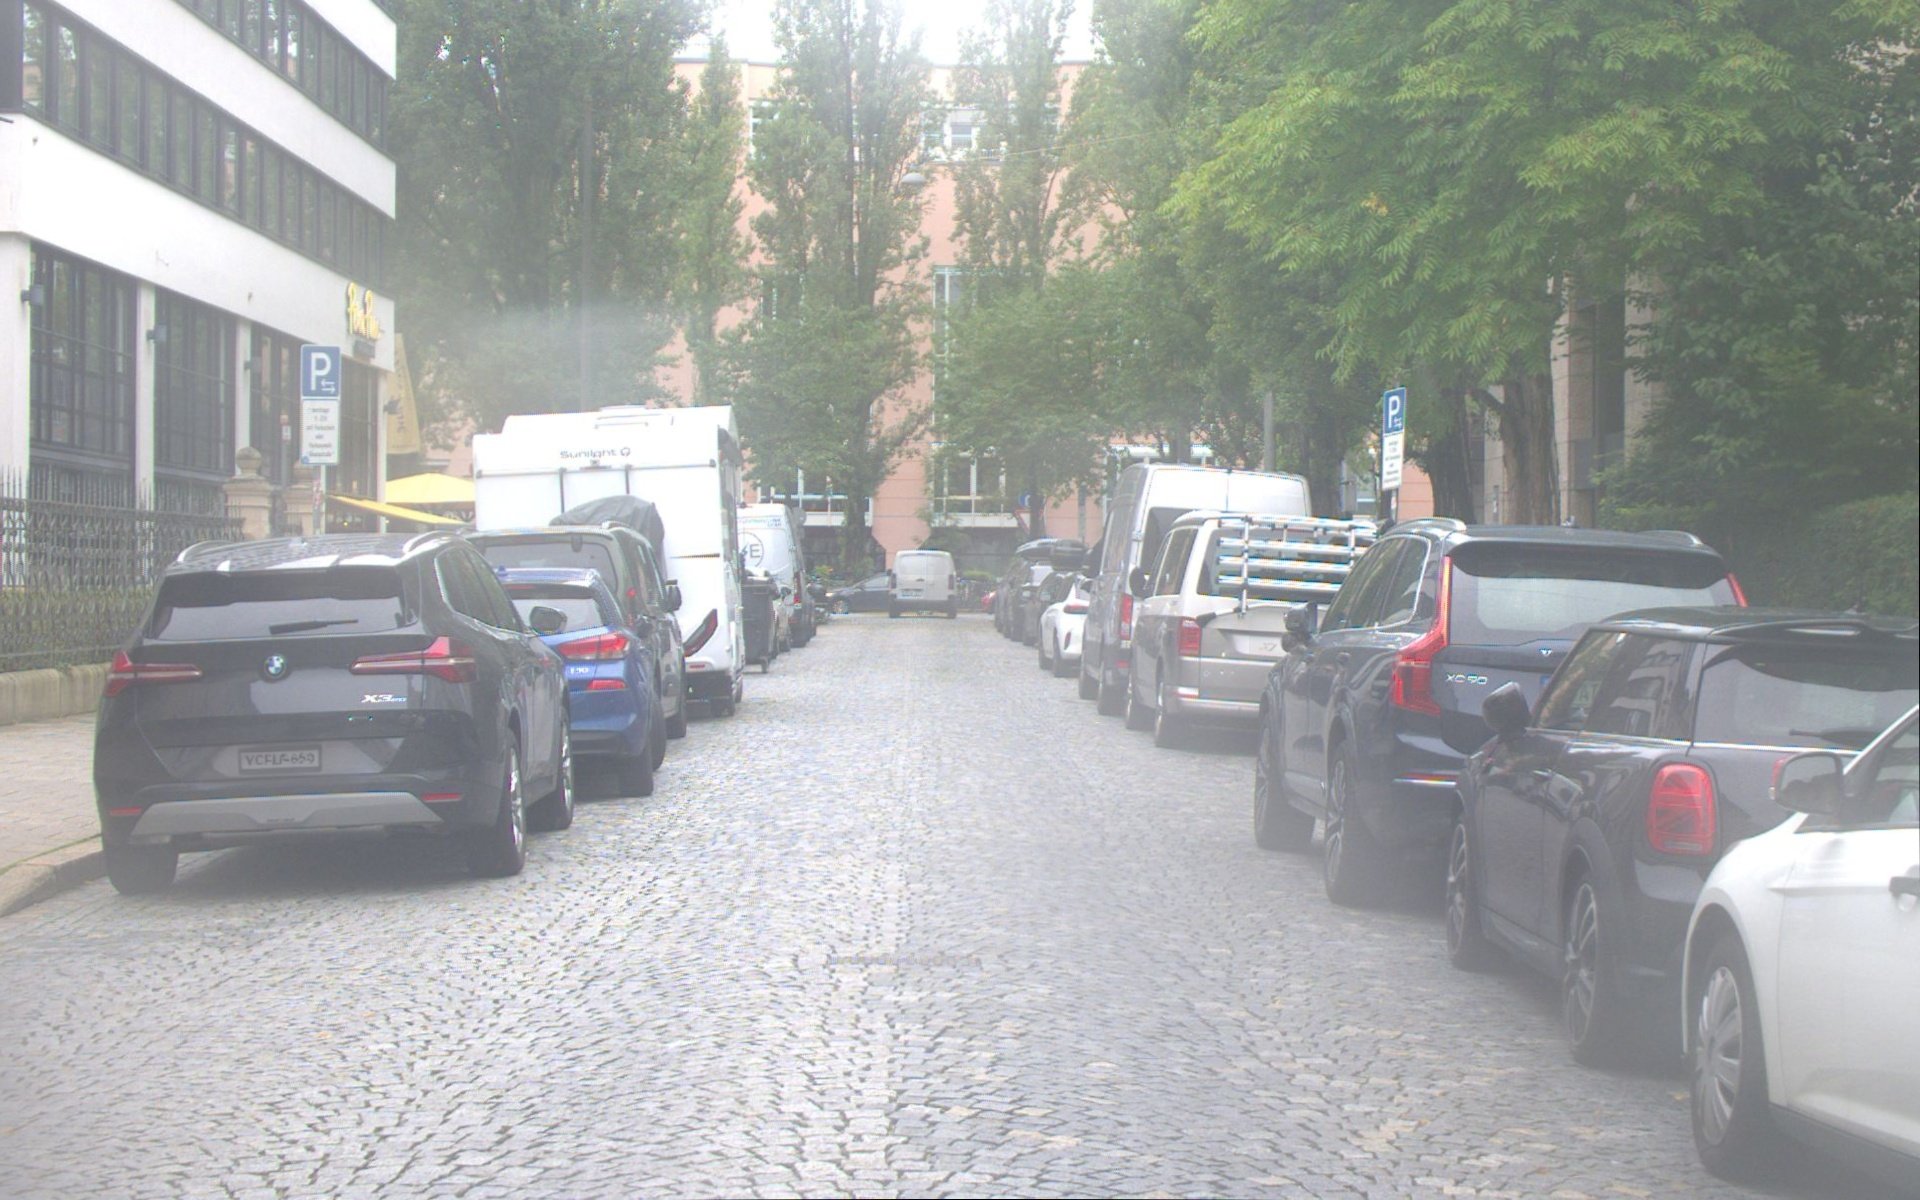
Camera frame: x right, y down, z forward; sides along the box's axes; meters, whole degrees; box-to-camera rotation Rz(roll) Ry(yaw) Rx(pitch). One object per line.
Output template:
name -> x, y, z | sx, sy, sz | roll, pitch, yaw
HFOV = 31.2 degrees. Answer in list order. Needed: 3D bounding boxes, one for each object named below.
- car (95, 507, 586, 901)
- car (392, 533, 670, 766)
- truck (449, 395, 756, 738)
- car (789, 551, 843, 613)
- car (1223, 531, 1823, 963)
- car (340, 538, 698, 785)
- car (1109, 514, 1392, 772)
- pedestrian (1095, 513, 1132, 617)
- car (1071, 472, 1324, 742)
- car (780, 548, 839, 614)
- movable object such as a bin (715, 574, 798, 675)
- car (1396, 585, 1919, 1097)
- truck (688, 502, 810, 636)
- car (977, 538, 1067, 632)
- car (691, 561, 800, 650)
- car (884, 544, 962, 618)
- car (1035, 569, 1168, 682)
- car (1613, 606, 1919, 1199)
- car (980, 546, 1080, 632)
car -> -2.981, 0.460, 17.412 | 1.773, 1.712, 4.391 | 1, 0, -2
car -> -3.383, 0.346, 27.795 | 1.894, 1.745, 4.168 | 0, 1, -2
truck -> -3.384, -0.350, 33.956 | 2.508, 3.021, 6.385 | -1, 1, -2
car -> -3.697, -0.455, 88.603 | 1.276, 1.536, 3.119 | 1, 0, -1
car -> 2.526, 0.607, 16.723 | 1.963, 1.753, 4.954 | 1, 0, -1
car -> -2.813, 0.370, 22.781 | 1.940, 1.454, 4.058 | 1, 0, -2
car -> 2.408, 0.336, 29.662 | 1.800, 1.943, 4.860 | 4, 0, -1
pedestrian -> 3.677, -0.845, 82.224 | 0.711, 2.417, 0.813 | -4, 3, 1
car -> 2.335, 0.023, 35.348 | 1.895, 2.418, 5.611 | 4, 1, -1
car -> -3.646, -0.455, 83.587 | 1.290, 1.534, 3.119 | 1, 0, -1
movable object such as a bin -> -2.813, 0.333, 47.678 | 1.064, 1.359, 1.289 | 1, 0, -1
car -> 2.688, 0.715, 11.990 | 1.683, 1.448, 3.966 | 3, 0, -1
truck -> -3.828, -0.554, 62.911 | 1.993, 2.339, 4.068 | 1, 0, -1
car -> 1.339, -0.307, 74.488 | 1.868, 1.954, 4.000 | 1, 0, 1
car -> -3.646, 0.087, 58.902 | 1.662, 1.450, 3.548 | 1, 0, -1
car -> -0.980, -0.513, 93.409 | 1.996, 1.929, 4.000 | 1, 0, 1
car -> 1.941, 0.338, 47.915 | 1.599, 1.481, 3.479 | 1, 0, -1
car -> 2.817, 0.750, 7.128 | 1.773, 1.424, 4.391 | 1, 0, -4
car -> 1.348, -0.202, 66.563 | 1.868, 1.599, 3.272 | 1, 0, 1
